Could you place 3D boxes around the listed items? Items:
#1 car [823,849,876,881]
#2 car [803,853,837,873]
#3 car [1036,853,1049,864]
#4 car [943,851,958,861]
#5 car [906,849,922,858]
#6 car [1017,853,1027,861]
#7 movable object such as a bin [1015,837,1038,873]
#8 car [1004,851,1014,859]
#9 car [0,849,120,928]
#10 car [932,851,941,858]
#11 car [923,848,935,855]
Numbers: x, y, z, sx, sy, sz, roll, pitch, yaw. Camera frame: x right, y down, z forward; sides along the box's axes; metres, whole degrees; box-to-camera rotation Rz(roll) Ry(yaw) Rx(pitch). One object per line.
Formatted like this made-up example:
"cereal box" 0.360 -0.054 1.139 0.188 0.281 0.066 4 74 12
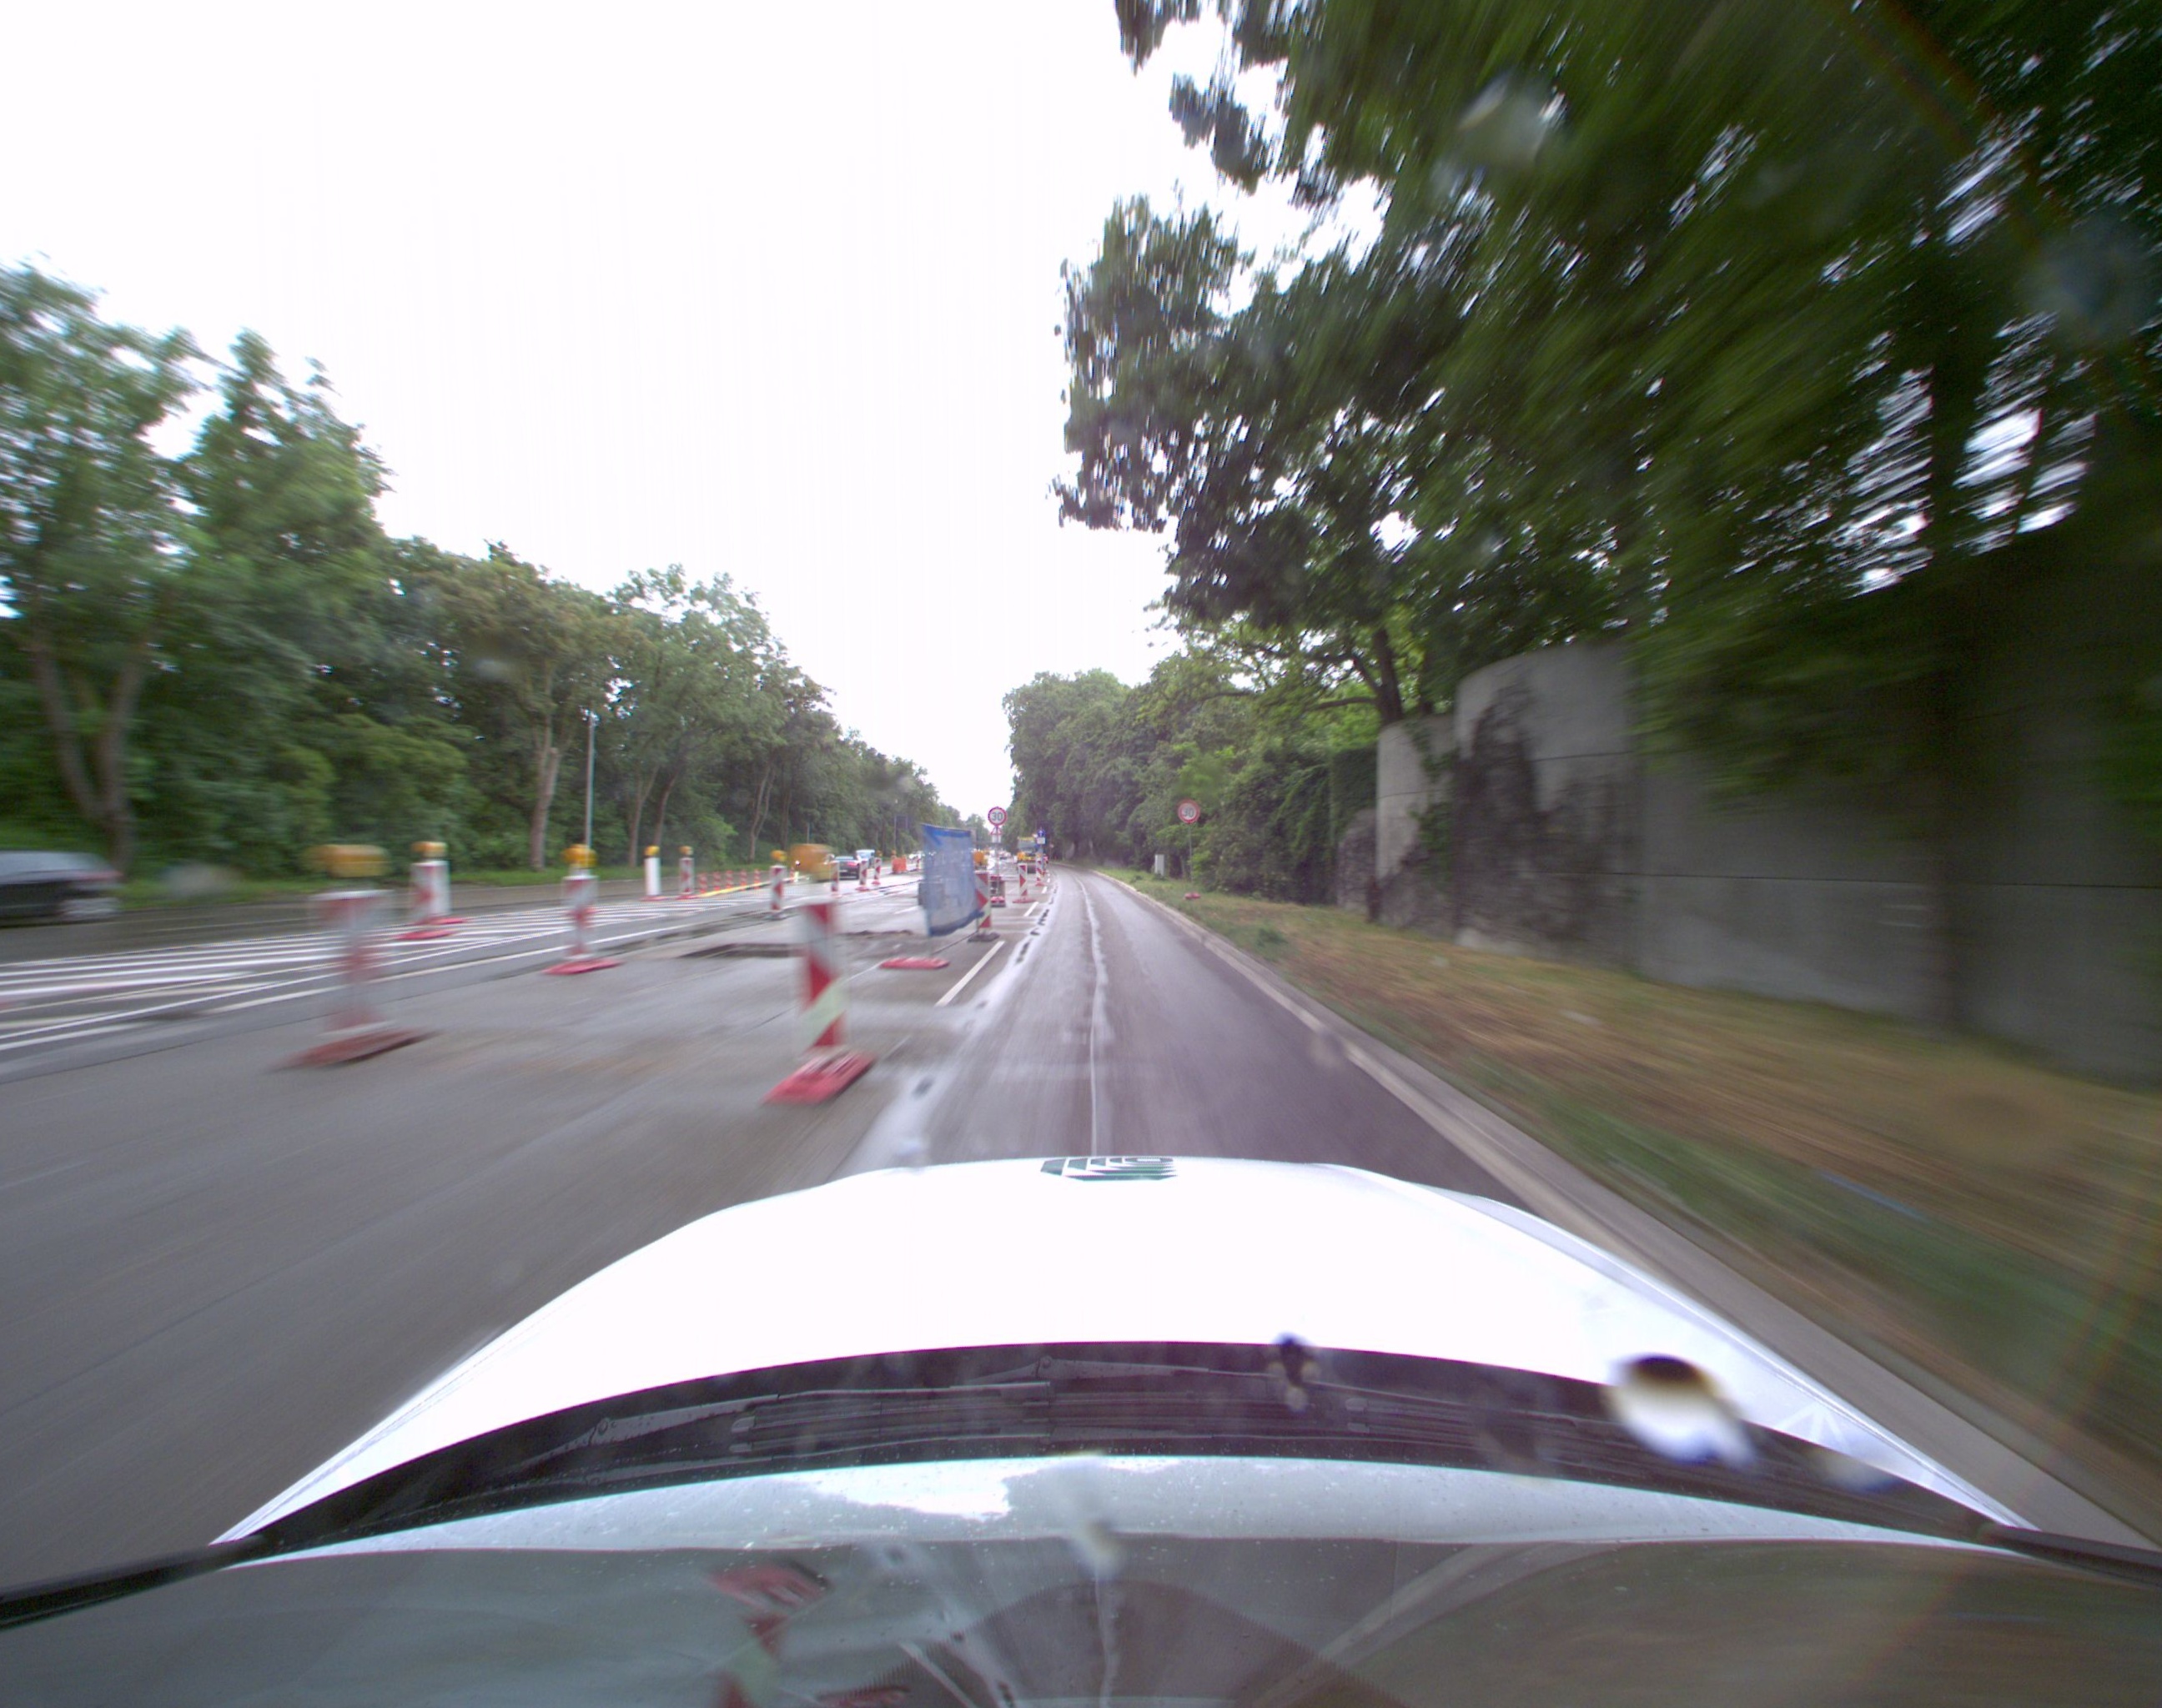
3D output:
"car" -12.778 0.556 45.166 1.857 1.491 3.998 2 2 -2
"car" -18.995 0.646 59.362 1.424 1.407 3.820 -1 0 -3
"car" -6.039 0.672 127.837 1.908 1.598 4.832 1 1 -1
"car" -23.982 0.393 149.730 1.921 1.778 4.651 0 0 -1
"car" -28.701 -0.094 140.003 1.921 1.665 4.651 0 0 -1
"car" -11.038 0.570 152.801 1.754 1.344 3.992 2 1 -6
"movable object such as a bin" -4.463 0.053 67.171 1.742 2.867 3.531 0 0 -2
"car" -16.376 0.228 184.934 1.869 1.618 3.999 0 1 -1
"car" -20.547 0.647 14.960 1.520 1.457 3.540 -1 0 1
"car" -36.213 0.047 204.194 1.924 1.665 4.644 0 0 -5
"car" -35.372 -0.569 189.438 1.921 1.665 4.651 0 0 -1
